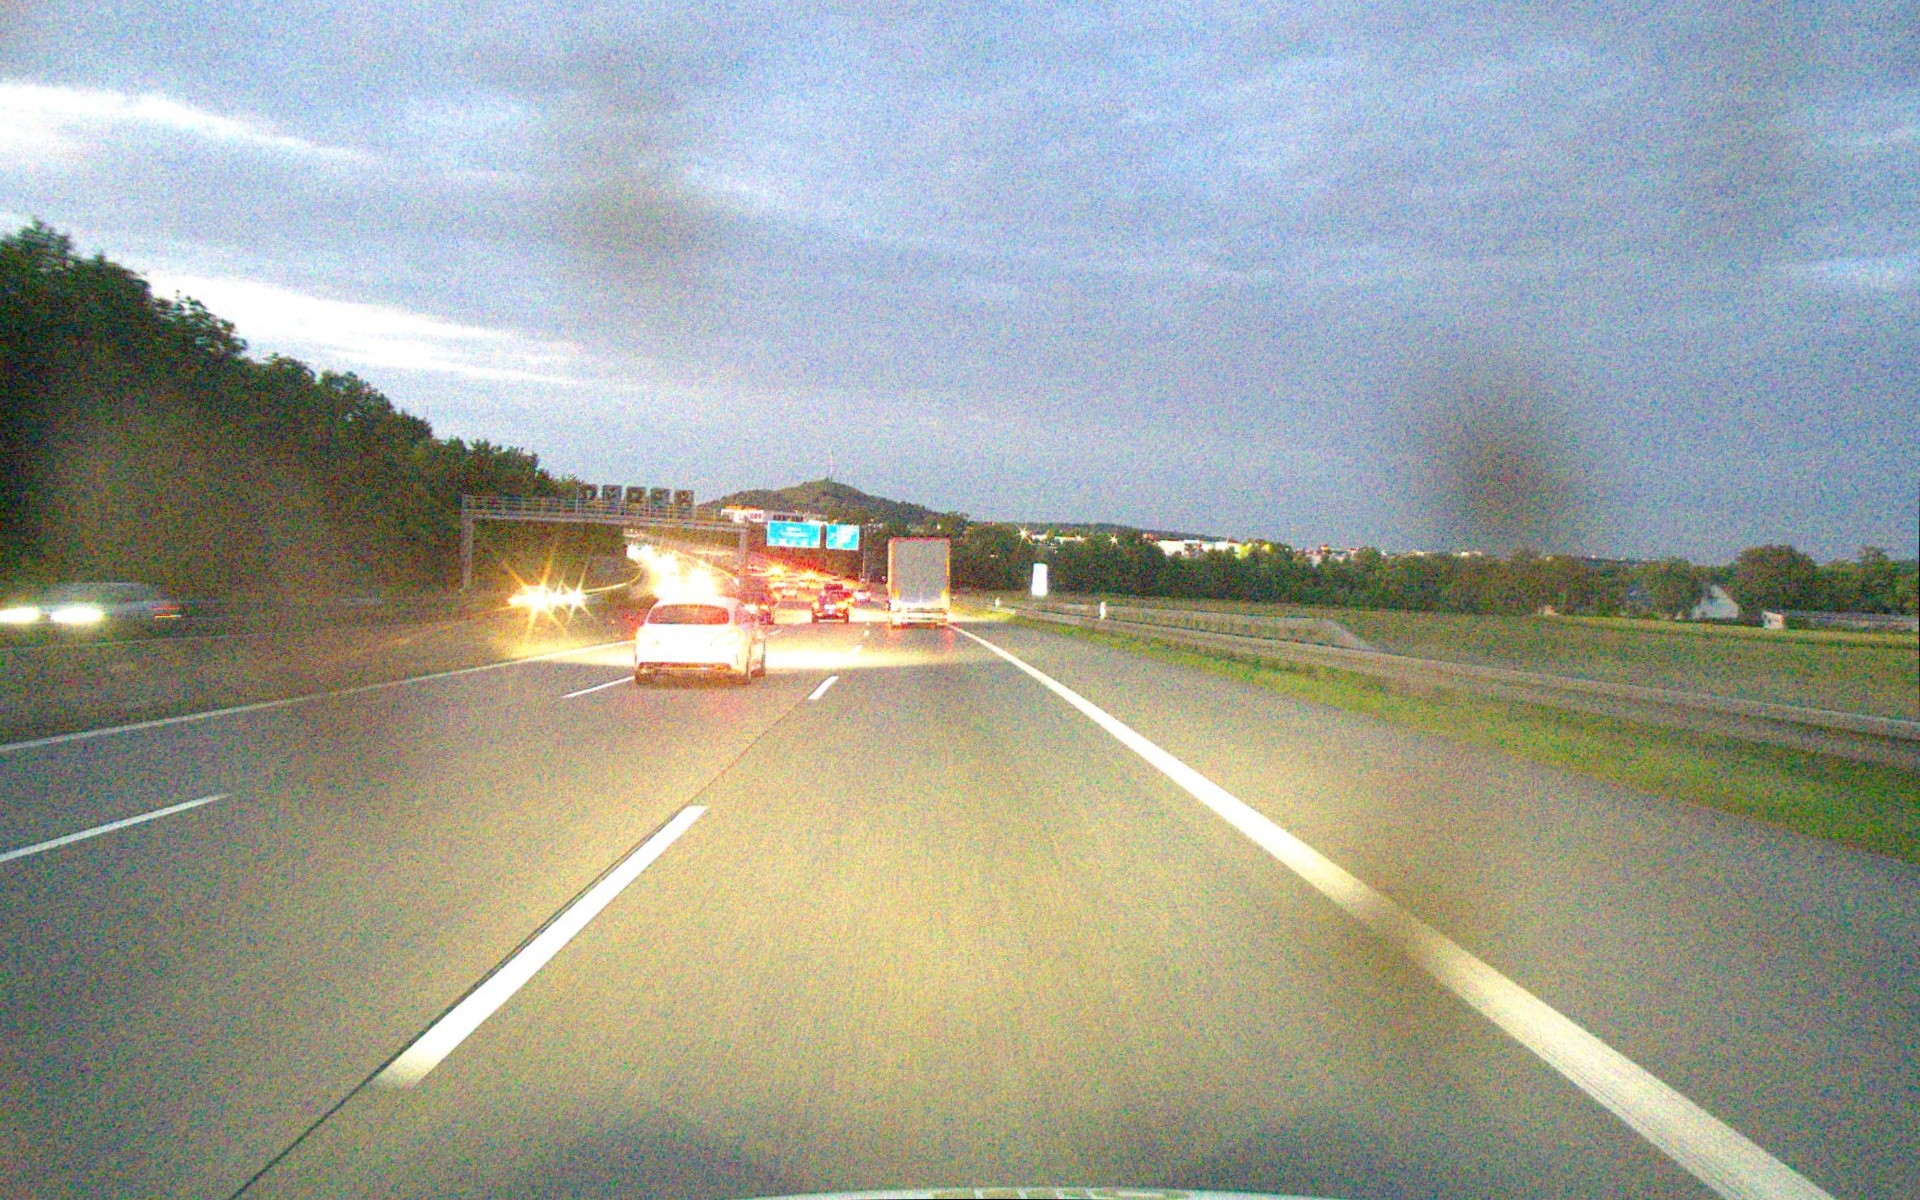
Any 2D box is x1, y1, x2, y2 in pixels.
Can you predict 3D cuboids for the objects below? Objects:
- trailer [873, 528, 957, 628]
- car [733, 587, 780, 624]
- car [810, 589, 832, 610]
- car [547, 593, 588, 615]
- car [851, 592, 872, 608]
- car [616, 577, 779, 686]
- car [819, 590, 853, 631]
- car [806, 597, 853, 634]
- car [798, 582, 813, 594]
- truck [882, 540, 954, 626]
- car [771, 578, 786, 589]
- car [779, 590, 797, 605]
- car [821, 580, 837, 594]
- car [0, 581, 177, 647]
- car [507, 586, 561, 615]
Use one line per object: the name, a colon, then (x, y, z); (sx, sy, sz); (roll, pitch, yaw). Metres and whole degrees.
trailer: (-2.047, -0.876, 77.355); (3.478, 4.188, 15.058); (1, 0, -1)
car: (-9.388, 0.243, 76.527); (1.726, 1.602, 4.575); (1, 0, -2)
car: (-13.892, -0.018, 164.890); (1.956, 2.049, 3.993); (1, 0, -8)
car: (-28.526, 0.283, 120.298); (1.954, 1.560, 5.004); (1, 0, -3)
car: (-10.409, 0.000, 175.251); (1.955, 1.561, 3.994); (1, 0, -7)
car: (-4.320, 0.490, 27.948); (1.867, 1.642, 4.804); (1, 0, 1)
car: (-7.569, 0.619, 101.588); (1.954, 2.422, 3.997); (1, 0, -3)
car: (-6.453, 0.744, 82.190); (2.023, 1.715, 4.575); (1, 0, -2)
car: (-23.290, -1.784, 249.115); (1.957, 1.650, 3.991); (1, 0, -10)
truck: (-2.138, -0.802, 84.441); (3.478, 4.163, 6.149); (1, 0, -1)
car: (-26.664, -2.415, 242.941); (1.956, 1.494, 3.993); (1, 0, -8)
car: (-19.751, -0.258, 189.801); (1.955, 1.650, 3.994); (1, 0, -7)
car: (-19.456, -1.865, 245.480); (1.956, 2.012, 3.992); (1, 0, -9)
car: (-19.661, 0.292, 37.220); (1.797, 1.359, 4.908); (1, 0, -1)
car: (-23.578, 0.043, 91.651); (1.953, 1.531, 4.504); (1, 0, -2)
